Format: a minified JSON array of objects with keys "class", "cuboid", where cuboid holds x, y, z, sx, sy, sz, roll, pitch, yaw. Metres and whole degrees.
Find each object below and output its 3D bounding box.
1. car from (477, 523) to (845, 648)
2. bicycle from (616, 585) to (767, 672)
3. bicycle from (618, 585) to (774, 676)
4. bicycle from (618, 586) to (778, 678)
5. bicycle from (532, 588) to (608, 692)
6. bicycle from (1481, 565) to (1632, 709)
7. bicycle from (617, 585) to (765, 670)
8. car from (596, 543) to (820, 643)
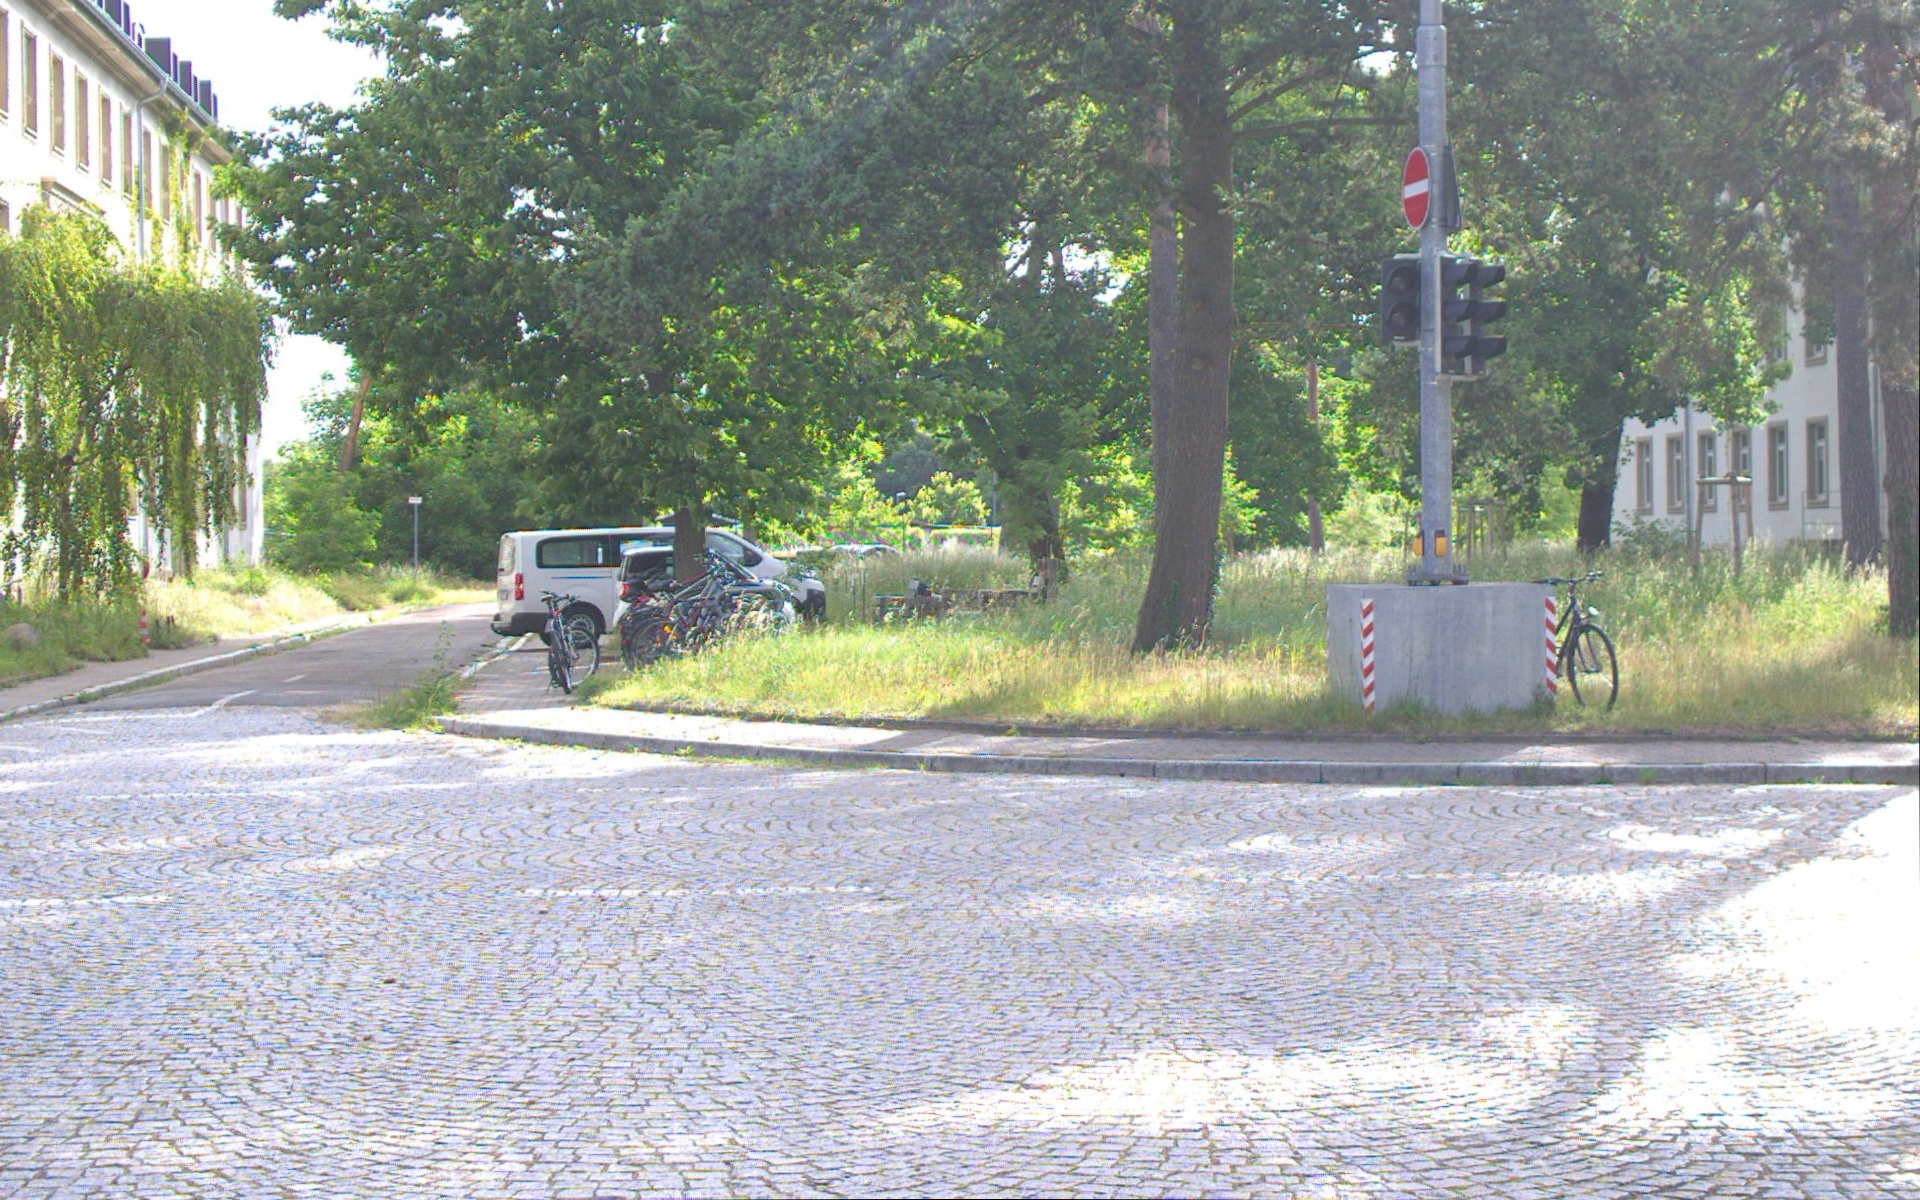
[{"class":"car","cuboid":[-4.811,-0.249,55.243,5.499,1.909,2.255,-1,0,-19]},{"class":"bicycle","cuboid":[-3.280,0.343,41.914,1.792,0.995,0.644,-1,2,-6]},{"class":"bicycle","cuboid":[-3.104,0.354,40.422,1.792,0.995,0.644,-1,2,-6]},{"class":"bicycle","cuboid":[-3.007,0.359,39.406,1.792,0.995,0.644,-1,2,-6]},{"class":"bicycle","cuboid":[-4.038,0.400,35.712,0.728,0.995,1.799,-1,2,-5]},{"class":"bicycle","cuboid":[4.463,0.261,25.820,0.562,0.995,1.752,-1,2,-9]},{"class":"bicycle","cuboid":[-3.343,0.337,42.650,1.792,0.995,0.644,-1,2,-6]},{"class":"car","cuboid":[-3.809,-0.106,51.751,3.031,1.460,1.720,-1,0,-18]}]
